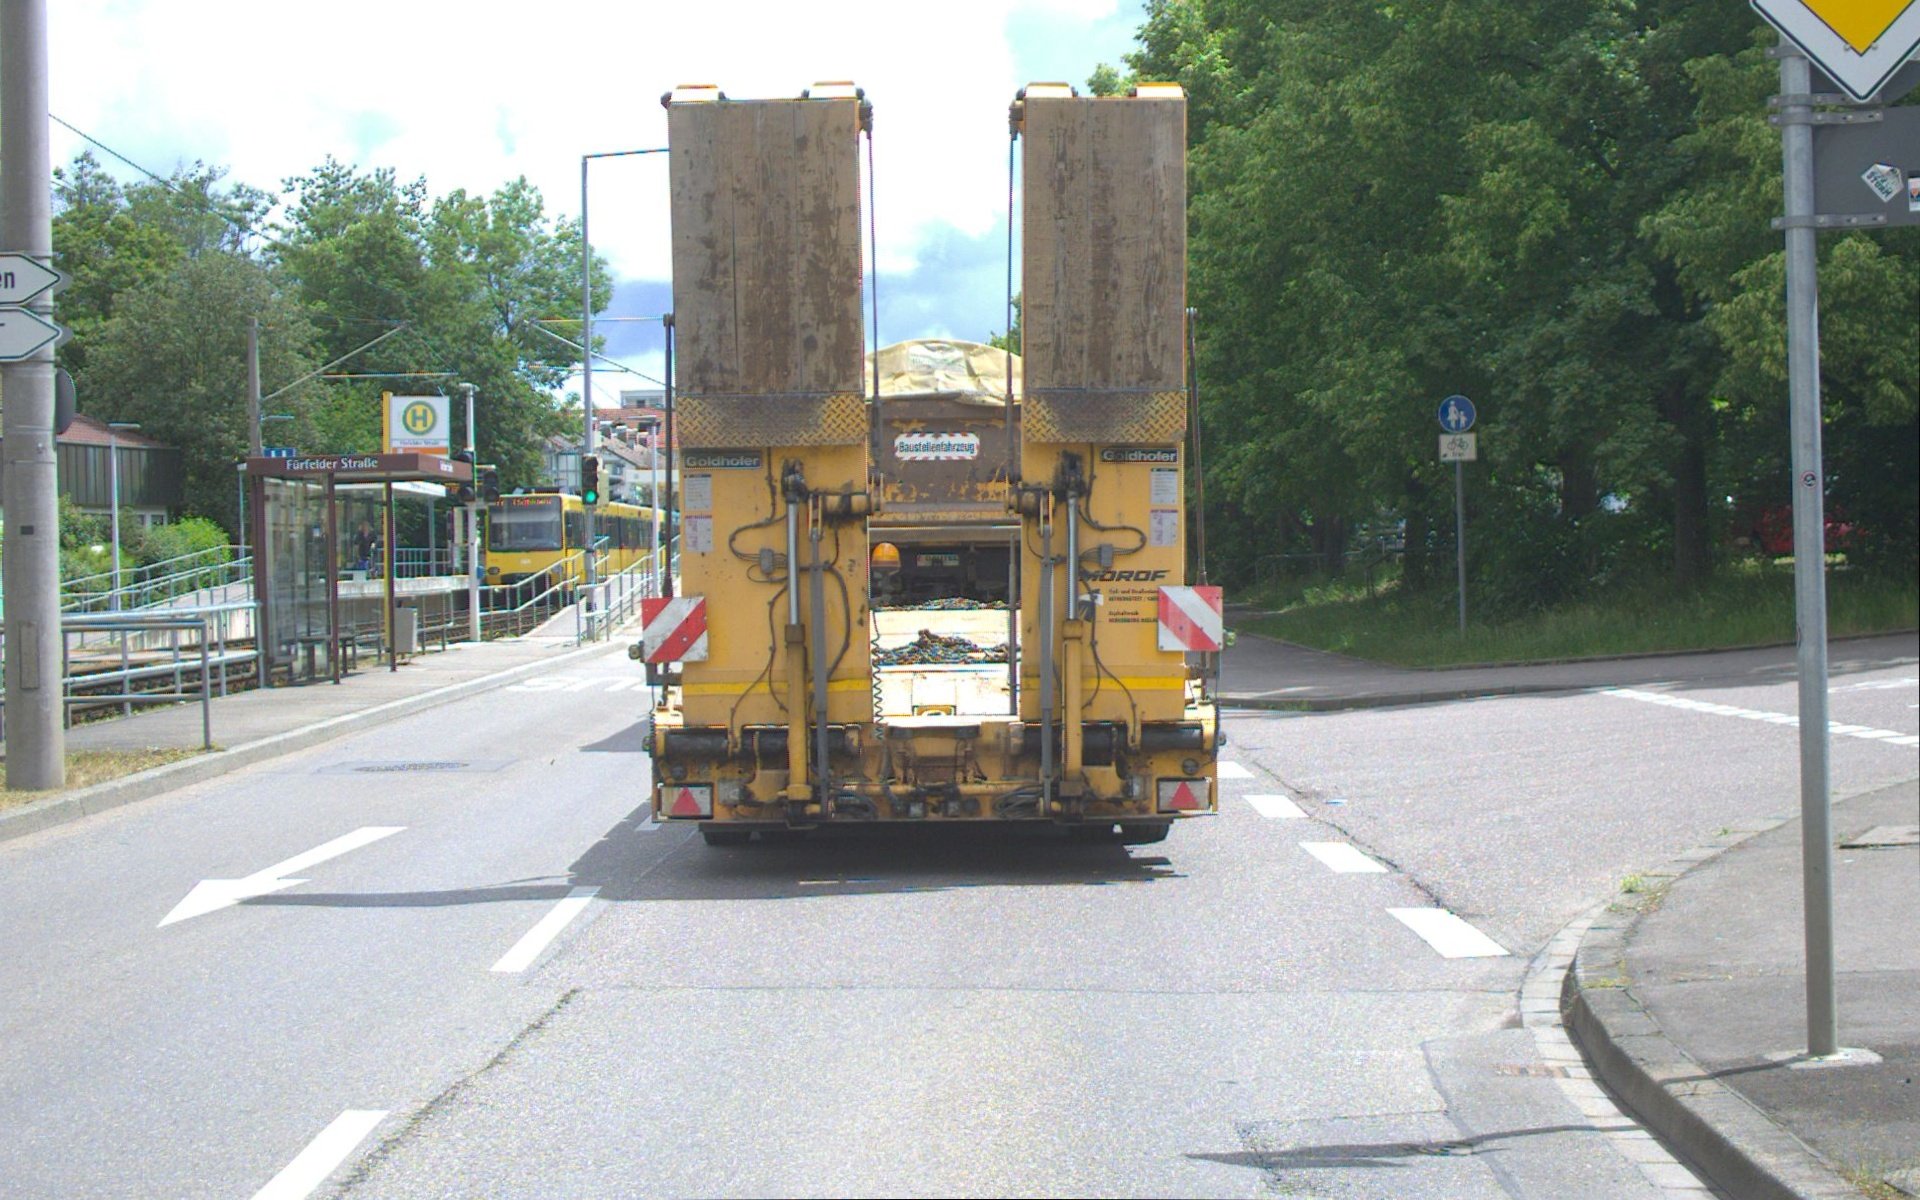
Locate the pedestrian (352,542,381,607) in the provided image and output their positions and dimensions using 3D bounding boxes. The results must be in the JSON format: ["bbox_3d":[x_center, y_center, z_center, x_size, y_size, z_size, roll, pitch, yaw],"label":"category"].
[{"bbox_3d":[-15.682,-0.684,90.904,0.639,1.701,0.646,1,0,0],"label":"pedestrian"}]

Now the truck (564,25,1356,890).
[{"bbox_3d":[-0.363,-0.706,21.774,3.402,3.719,13.740,-1,1,-3],"label":"truck"}]

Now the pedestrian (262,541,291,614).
[{"bbox_3d":[-16.712,-0.555,84.045,0.584,1.771,0.576,1,0,-1],"label":"pedestrian"}]

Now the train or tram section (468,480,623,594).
[{"bbox_3d":[-13.591,-2.029,114.551,3.108,3.453,18.827,1,1,-1],"label":"train or tram section"}]

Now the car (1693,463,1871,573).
[{"bbox_3d":[12.264,-1.210,51.499,1.661,1.495,3.663,-3,1,-1],"label":"car"}]
